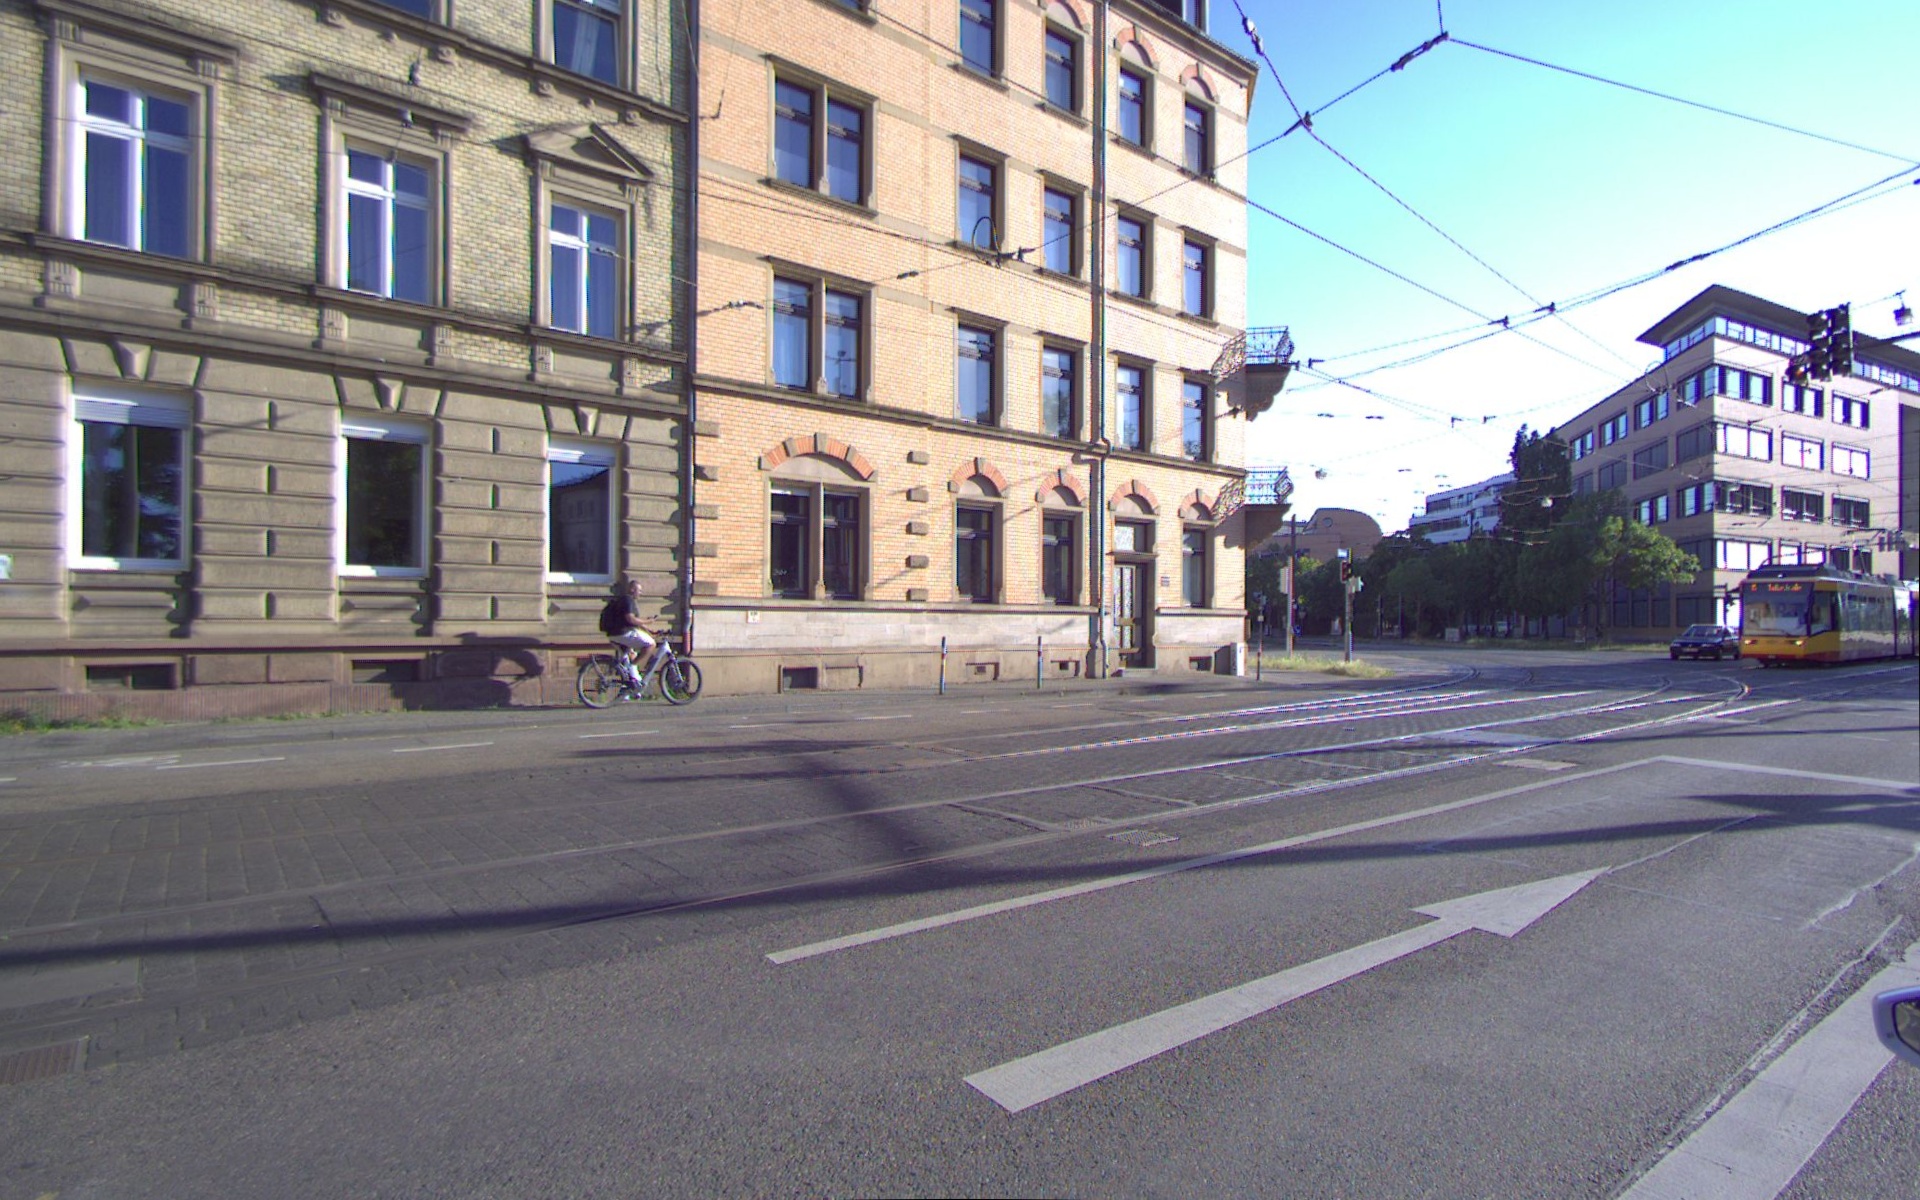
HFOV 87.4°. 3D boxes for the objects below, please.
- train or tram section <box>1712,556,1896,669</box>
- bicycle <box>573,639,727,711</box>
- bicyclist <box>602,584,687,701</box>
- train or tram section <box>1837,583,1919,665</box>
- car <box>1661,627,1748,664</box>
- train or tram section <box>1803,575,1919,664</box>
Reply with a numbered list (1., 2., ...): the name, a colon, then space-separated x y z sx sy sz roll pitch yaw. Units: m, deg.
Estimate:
1. train or tram section: 31.375 0.533 37.009 12.904 3.554 2.838 1 -2 -39
2. bicycle: -4.496 1.064 14.666 2.069 0.952 0.642 1 -2 -38
3. bicyclist: -4.596 0.611 14.638 1.026 1.634 0.630 1 -1 -37
4. train or tram section: 45.243 1.141 47.398 11.175 3.554 2.844 1 -1 -33
5. car: 29.874 1.775 40.279 4.126 1.398 1.795 1 -2 -38
6. train or tram section: 38.442 0.845 42.793 5.257 3.554 2.839 1 -2 -38
